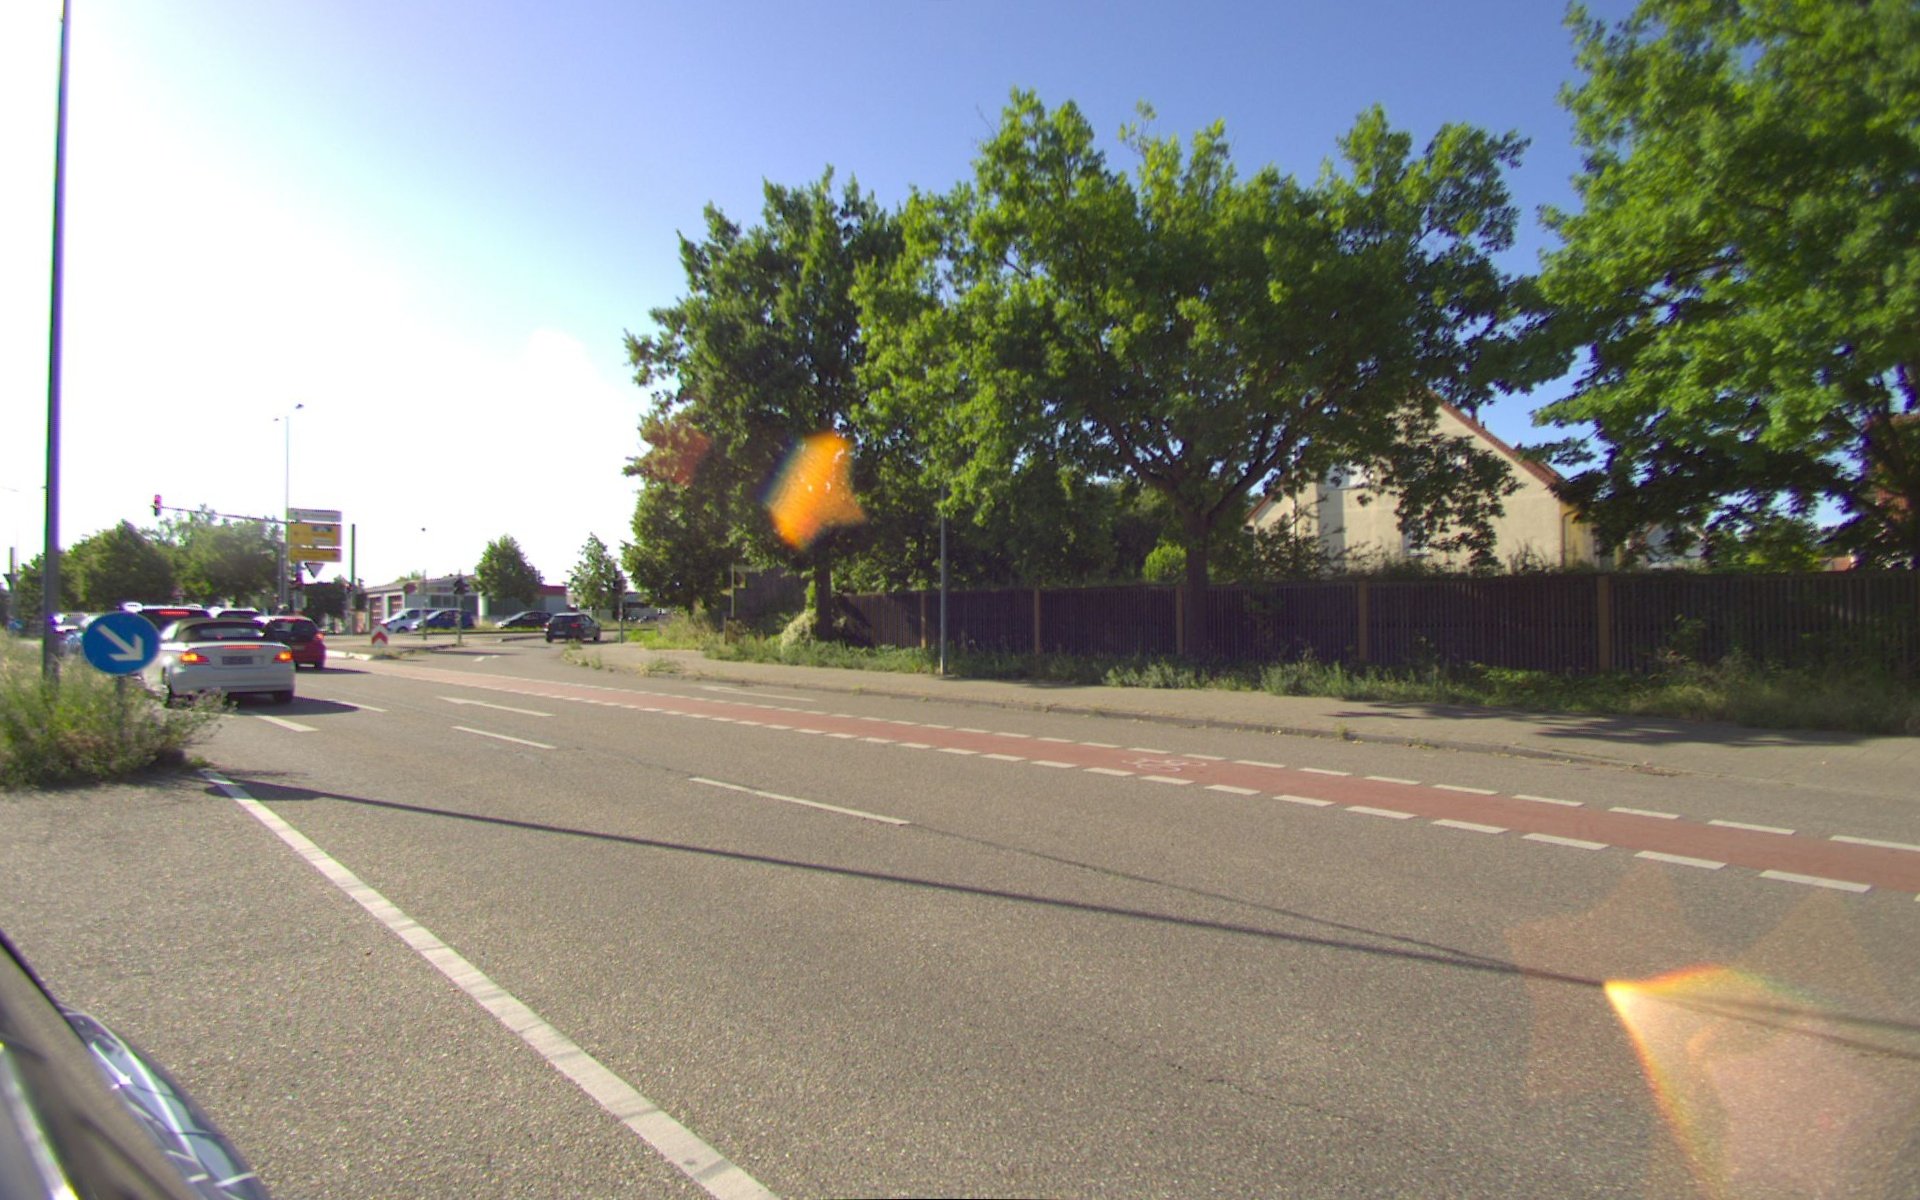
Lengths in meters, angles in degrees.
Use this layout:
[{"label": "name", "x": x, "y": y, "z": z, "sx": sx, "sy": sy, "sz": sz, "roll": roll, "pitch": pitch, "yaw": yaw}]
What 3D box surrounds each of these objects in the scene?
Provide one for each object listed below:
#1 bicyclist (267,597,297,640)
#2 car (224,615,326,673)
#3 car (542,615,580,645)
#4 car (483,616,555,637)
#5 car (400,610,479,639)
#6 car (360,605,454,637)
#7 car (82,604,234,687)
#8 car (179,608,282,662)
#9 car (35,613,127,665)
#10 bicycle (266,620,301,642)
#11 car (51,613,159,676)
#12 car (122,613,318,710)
[{"label": "bicyclist", "x": -27.460, "y": 0.733, "z": 40.965, "sx": 1.242, "sy": 1.715, "sz": 0.736, "roll": -1, "pitch": -2, "yaw": 43}, {"label": "car", "x": -19.040, "y": 1.189, "z": 28.094, "sx": 3.715, "sy": 1.494, "sz": 1.627, "roll": -1, "pitch": -2, "yaw": 44}, {"label": "car", "x": -19.845, "y": 1.491, "z": 50.439, "sx": 1.685, "sy": 1.442, "sz": 4.013, "roll": 2, "pitch": -2, "yaw": -20}, {"label": "car", "x": -29.288, "y": 1.786, "z": 67.338, "sx": 1.891, "sy": 1.284, "sz": 3.986, "roll": -4, "pitch": -4, "yaw": 40}, {"label": "car", "x": -32.457, "y": 1.526, "z": 63.198, "sx": 1.891, "sy": 1.657, "sz": 3.986, "roll": -4, "pitch": -4, "yaw": 40}, {"label": "car", "x": -37.283, "y": 1.442, "z": 68.378, "sx": 2.046, "sy": 2.029, "sz": 5.205, "roll": -4, "pitch": -4, "yaw": 40}, {"label": "car", "x": -17.463, "y": 0.940, "z": 21.963, "sx": 4.531, "sy": 1.628, "sz": 1.971, "roll": -1, "pitch": -2, "yaw": 44}, {"label": "car", "x": -24.043, "y": 1.116, "z": 33.289, "sx": 4.532, "sy": 1.656, "sz": 1.971, "roll": -1, "pitch": -2, "yaw": 44}, {"label": "car", "x": -27.356, "y": 1.182, "z": 31.438, "sx": 4.532, "sy": 1.517, "sz": 1.773, "roll": -1, "pitch": -2, "yaw": 44}, {"label": "bicycle", "x": -27.310, "y": 1.232, "z": 40.828, "sx": 1.990, "sy": 0.854, "sz": 0.740, "roll": -1, "pitch": -2, "yaw": 43}, {"label": "car", "x": -21.806, "y": 1.091, "z": 25.764, "sx": 3.889, "sy": 1.494, "sz": 1.727, "roll": -1, "pitch": -2, "yaw": 44}, {"label": "car", "x": -12.793, "y": 0.975, "z": 17.396, "sx": 4.400, "sy": 1.461, "sz": 1.971, "roll": -1, "pitch": -2, "yaw": 44}]
